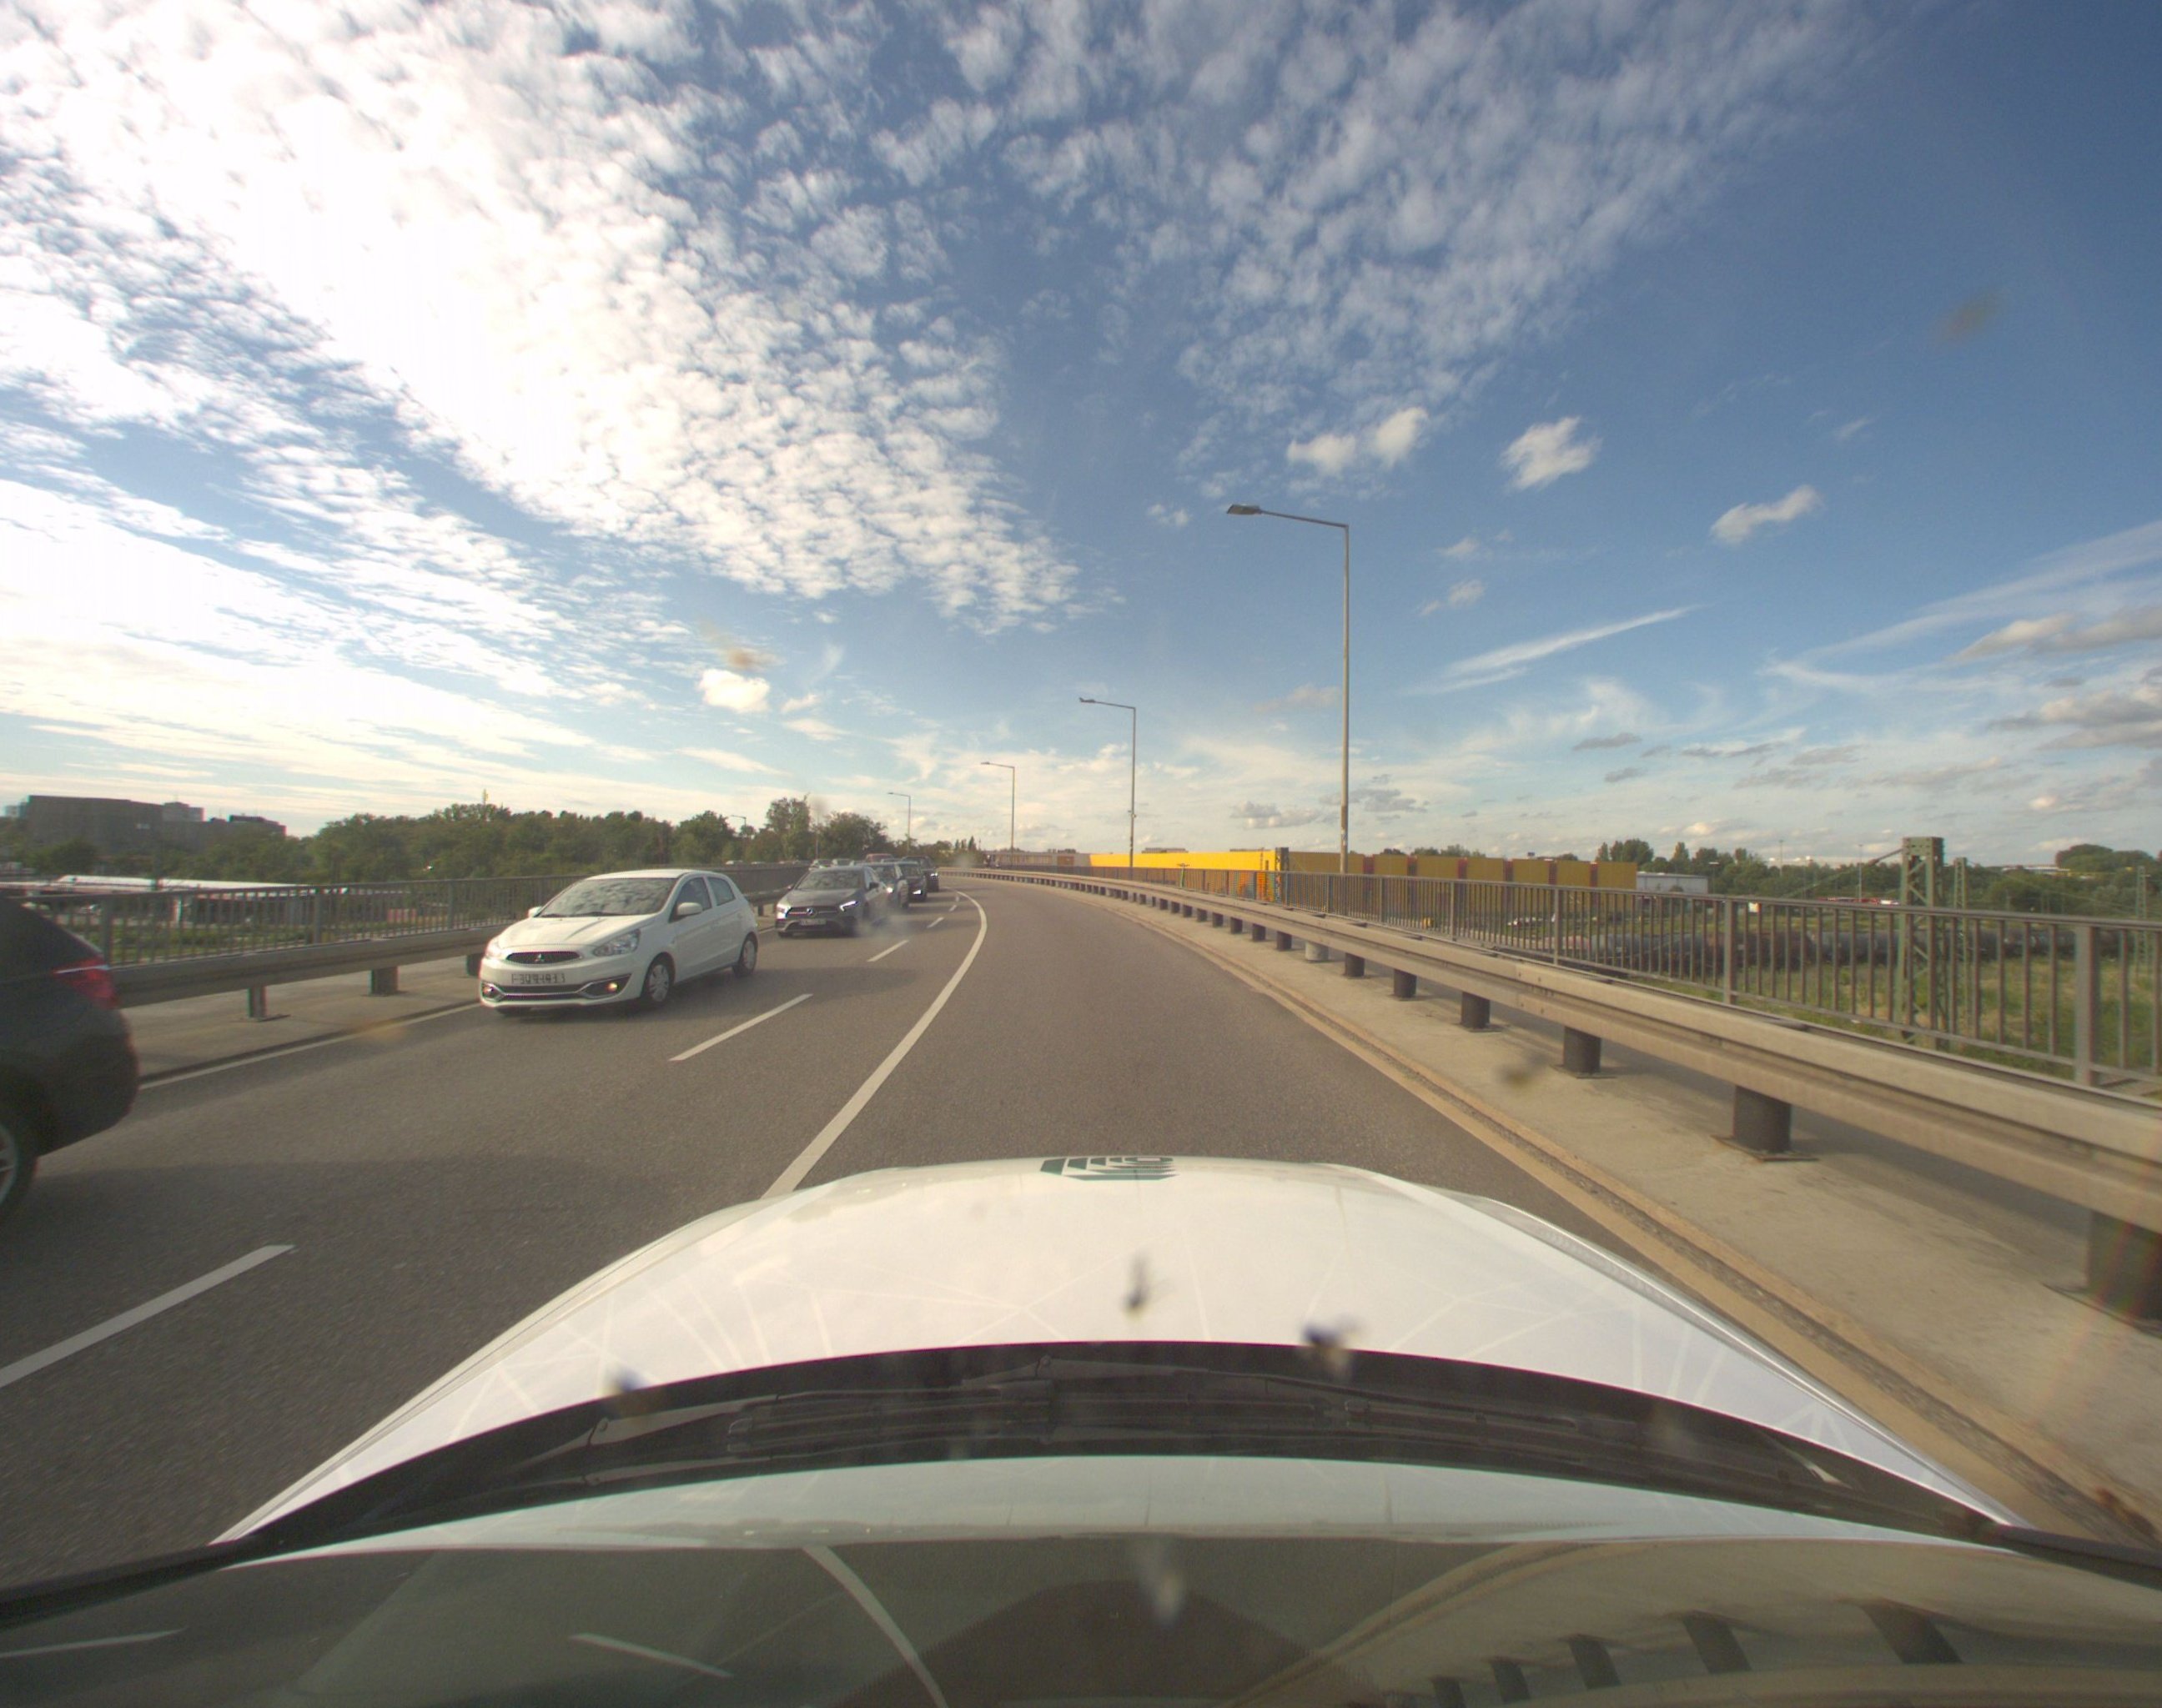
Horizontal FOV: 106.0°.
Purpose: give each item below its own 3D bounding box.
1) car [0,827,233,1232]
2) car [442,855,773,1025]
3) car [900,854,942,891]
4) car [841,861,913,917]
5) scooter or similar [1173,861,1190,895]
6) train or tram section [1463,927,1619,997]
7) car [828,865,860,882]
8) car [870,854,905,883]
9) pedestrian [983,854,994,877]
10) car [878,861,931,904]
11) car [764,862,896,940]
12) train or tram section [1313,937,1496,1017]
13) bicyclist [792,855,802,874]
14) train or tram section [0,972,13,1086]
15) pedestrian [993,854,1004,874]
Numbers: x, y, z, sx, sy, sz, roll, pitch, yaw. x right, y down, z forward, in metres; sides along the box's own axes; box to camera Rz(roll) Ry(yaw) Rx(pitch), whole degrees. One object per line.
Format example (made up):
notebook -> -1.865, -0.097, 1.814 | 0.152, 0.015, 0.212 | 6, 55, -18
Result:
car -> -5.429, 0.735, 1.946 | 1.862, 1.666, 4.631 | -1, 0, 1
car -> -5.257, 0.826, 9.745 | 1.678, 1.545, 3.920 | -2, 0, -1
car -> -7.817, 0.878, 39.855 | 1.830, 1.672, 4.848 | -1, 0, -11
car -> -6.102, 0.995, 24.749 | 1.760, 1.490, 4.376 | -1, 0, -10
scooter or similar -> 3.540, 0.829, 28.686 | 0.265, 1.162, 1.185 | -1, -1, -8
train or tram section -> 41.115, 9.378, 72.429 | 16.780, 4.712, 3.070 | -1, -1, -26
car -> -21.695, 1.773, 74.517 | 1.753, 1.501, 4.035 | -1, 0, -33
car -> -13.555, 1.010, 56.884 | 2.013, 1.903, 4.838 | -1, 0, -18
pedestrian -> -6.991, 0.864, 61.480 | 0.678, 1.661, 0.860 | -1, -1, -17
car -> -6.721, 1.044, 31.280 | 1.760, 1.490, 4.430 | -1, 0, -10
car -> -5.378, 0.934, 18.059 | 1.809, 1.457, 4.319 | -1, 0, -4
train or tram section -> 26.089, 9.563, 65.041 | 16.780, 4.712, 3.070 | -1, -1, -26
bicyclist -> -25.876, 0.951, 74.221 | 0.770, 1.661, 1.111 | -1, -1, -25
train or tram section -> -52.704, 7.495, 29.854 | 16.780, 4.712, 3.070 | -1, -1, -26
pedestrian -> -6.252, 0.751, 61.811 | 0.678, 1.544, 0.955 | -1, -1, -17
